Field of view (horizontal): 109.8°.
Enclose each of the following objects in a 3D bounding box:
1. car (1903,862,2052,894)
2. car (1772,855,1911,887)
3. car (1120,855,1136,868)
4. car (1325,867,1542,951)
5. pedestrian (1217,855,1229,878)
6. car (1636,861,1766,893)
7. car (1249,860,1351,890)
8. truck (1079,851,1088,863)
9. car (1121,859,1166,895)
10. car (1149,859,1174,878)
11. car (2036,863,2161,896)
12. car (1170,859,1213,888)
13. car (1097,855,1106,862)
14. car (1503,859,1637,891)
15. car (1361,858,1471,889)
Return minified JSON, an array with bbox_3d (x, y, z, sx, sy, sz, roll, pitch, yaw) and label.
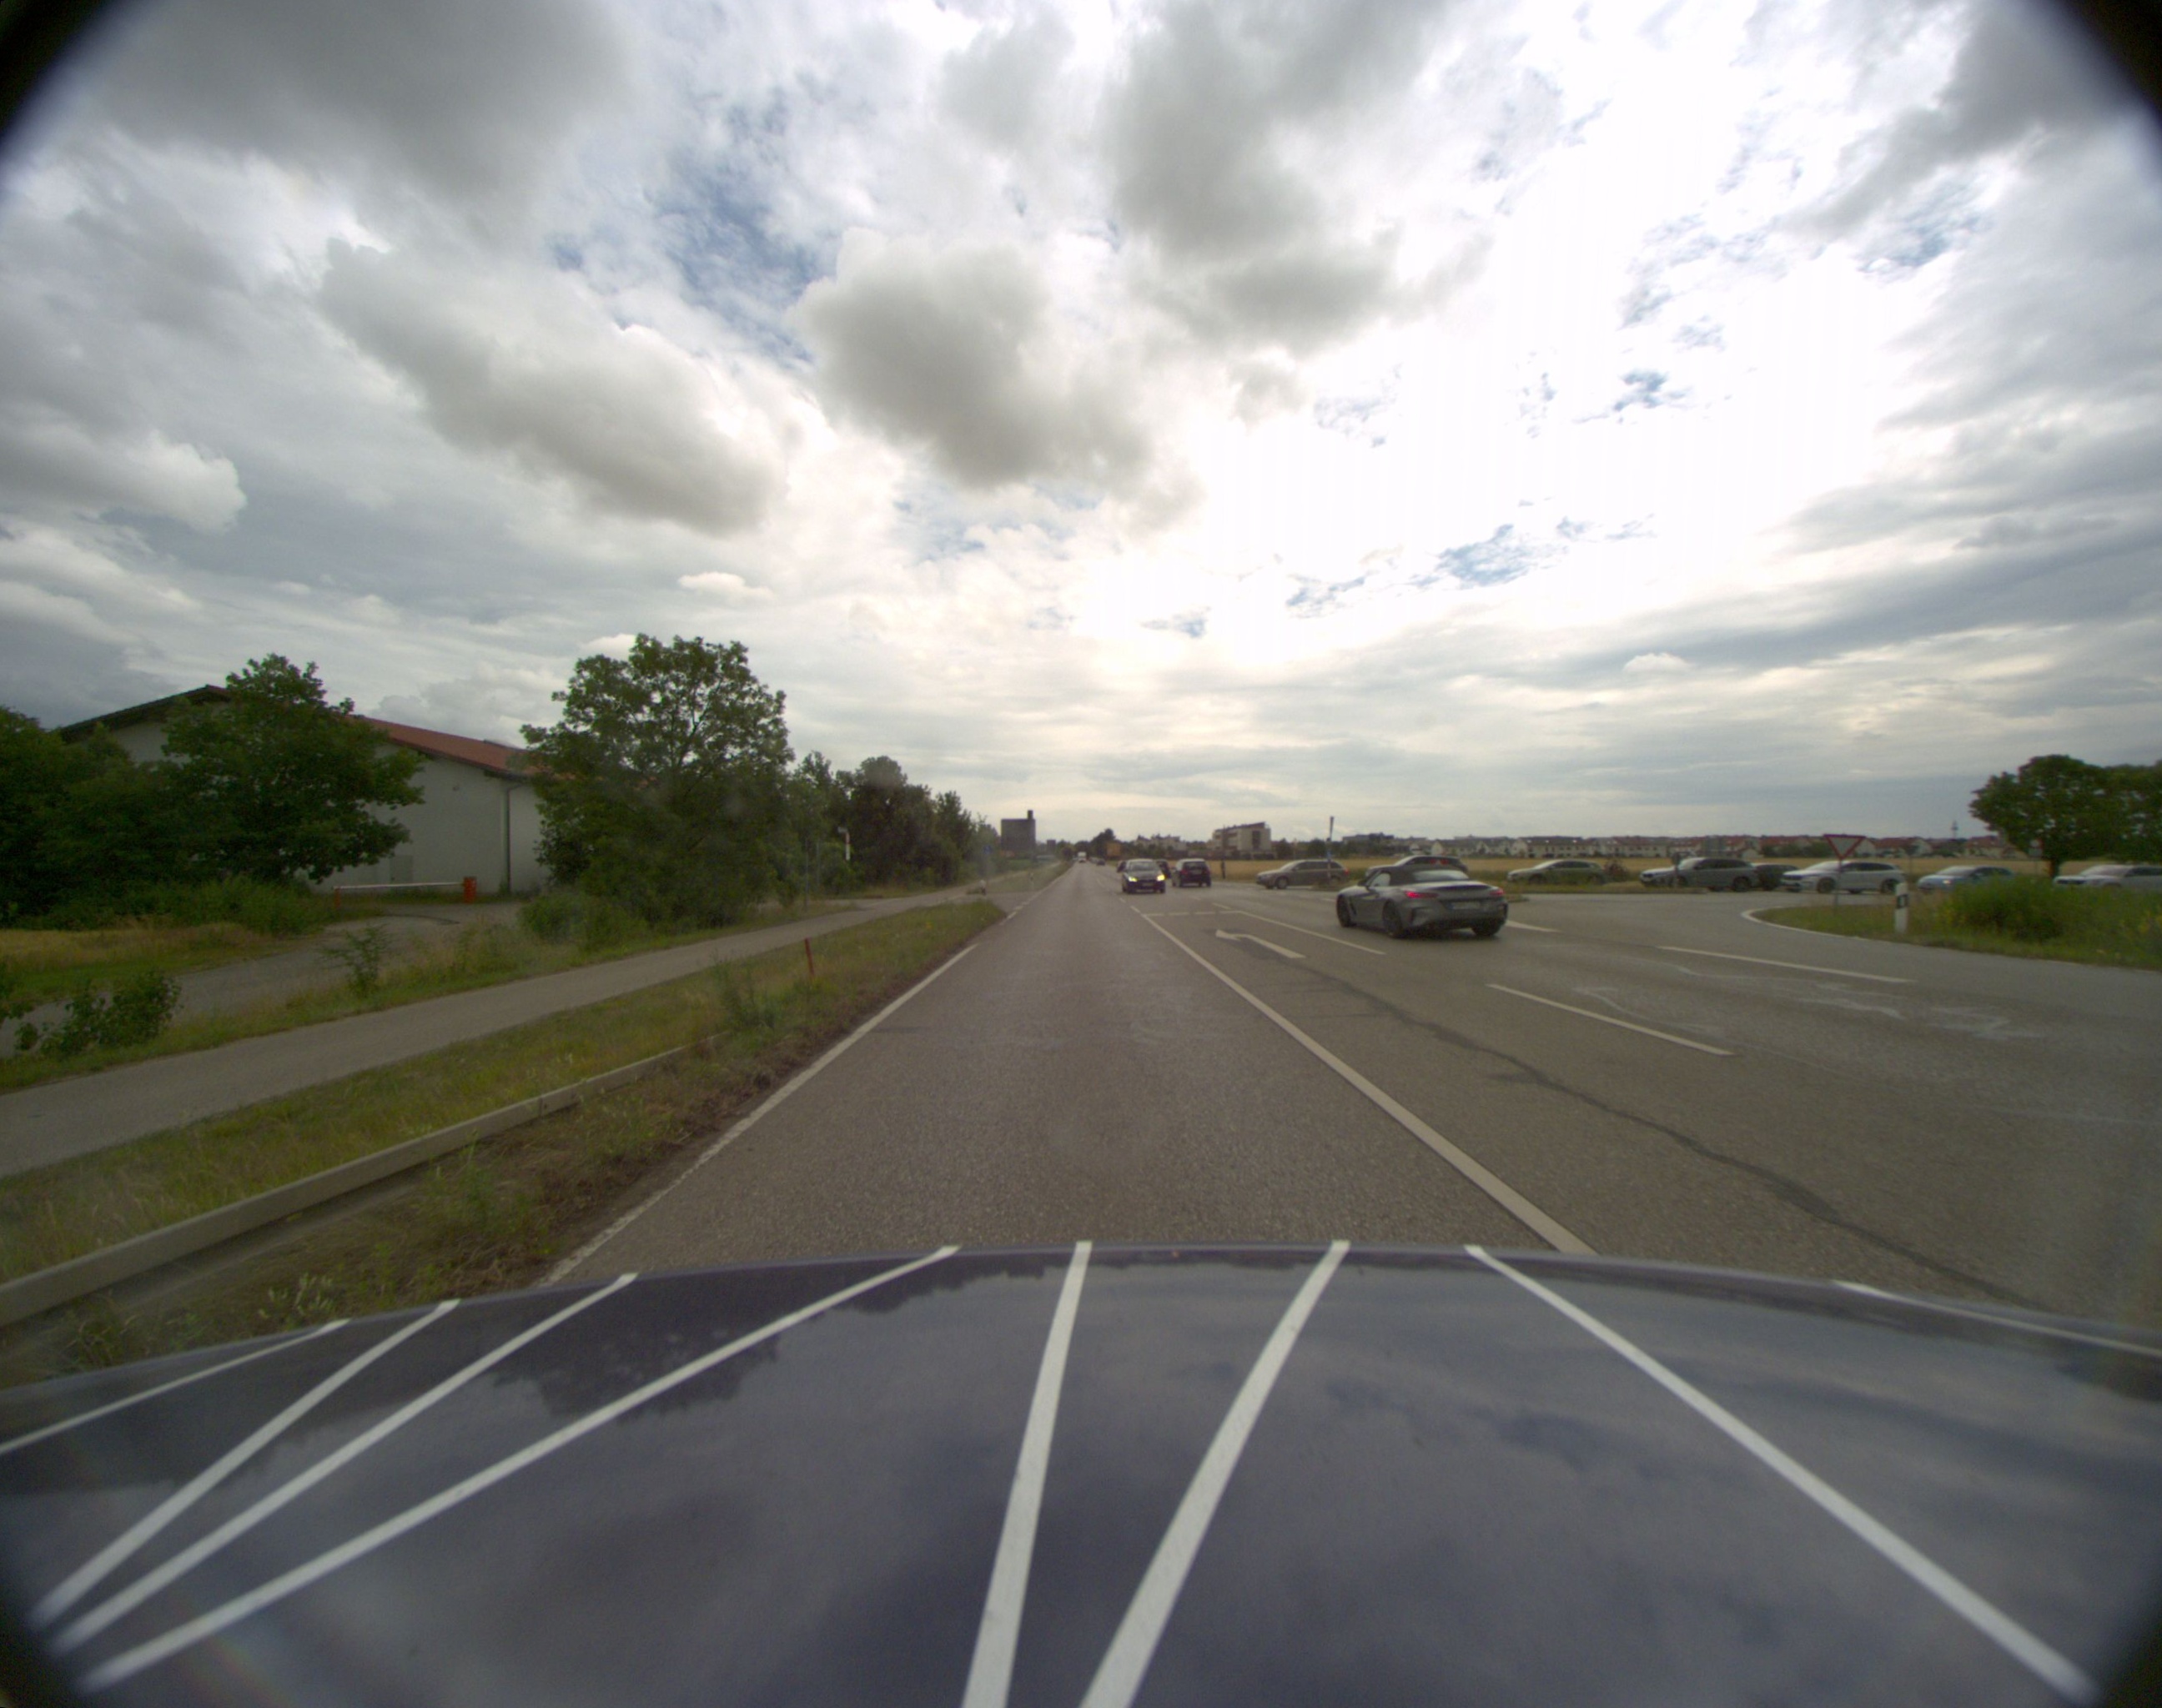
[{"bbox_3d":[42.300,1.130,35.951,4.500,1.473,1.912,0,0,6],"label":"car"},{"bbox_3d":[36.231,0.786,36.317,4.500,1.473,1.912,0,0,6],"label":"car"},{"bbox_3d":[5.907,0.886,95.571,1.683,1.512,4.396,-2,0,0],"label":"car"},{"bbox_3d":[6.496,0.942,14.651,2.170,1.277,4.237,-2,0,0],"label":"car"},{"bbox_3d":[10.118,0.897,54.104,0.595,1.596,0.866,2,0,-2],"label":"pedestrian"},{"bbox_3d":[30.143,1.098,37.067,4.633,1.508,1.912,0,0,6],"label":"car"},{"bbox_3d":[10.844,1.018,37.715,4.465,1.416,1.910,0,0,-8],"label":"car"},{"bbox_3d":[0.926,1.034,238.215,2.813,3.588,11.219,0,0,1],"label":"truck"},{"bbox_3d":[2.984,1.059,37.007,1.707,1.602,4.482,-2,0,-1],"label":"car"},{"bbox_3d":[6.521,1.160,61.788,1.666,1.475,3.168,-1,0,-1],"label":"car"},{"bbox_3d":[48.297,1.196,35.587,4.501,1.473,1.911,0,0,3],"label":"car"},{"bbox_3d":[6.233,1.066,43.227,1.746,1.521,4.199,-1,0,-1],"label":"car"},{"bbox_3d":[4.308,0.993,162.267,1.740,1.450,4.131,0,0,-1],"label":"car"},{"bbox_3d":[24.061,1.038,37.571,5.295,1.512,1.912,0,0,6],"label":"car"},{"bbox_3d":[16.787,0.976,38.258,4.749,1.523,1.912,0,0,6],"label":"car"}]
